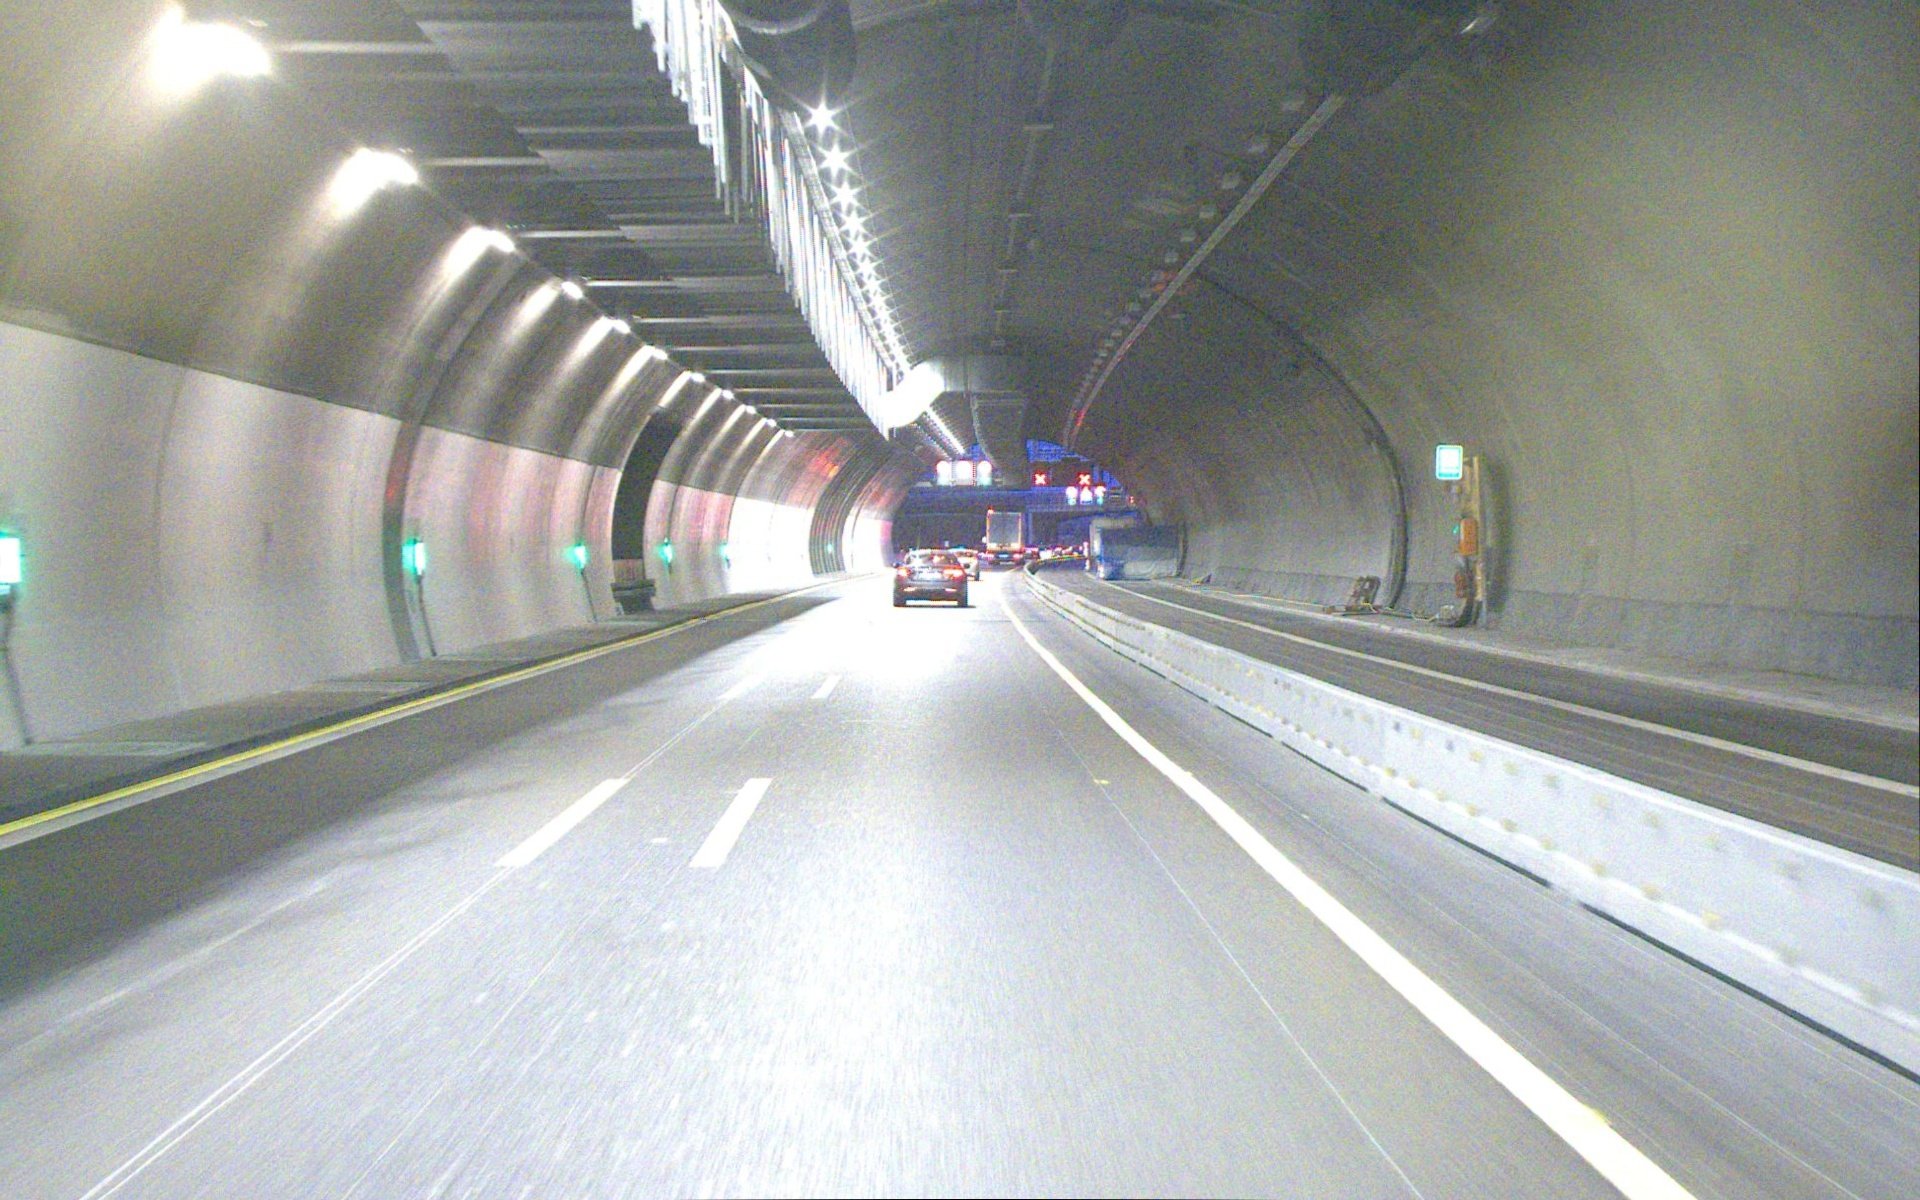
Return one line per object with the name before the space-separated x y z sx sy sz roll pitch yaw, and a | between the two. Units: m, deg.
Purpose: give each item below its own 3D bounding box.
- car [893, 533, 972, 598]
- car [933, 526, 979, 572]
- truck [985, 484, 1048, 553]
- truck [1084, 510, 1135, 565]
car | -0.721 -0.876 87.259 1.887 1.601 4.000 1 1 -2
car | -0.191 -2.302 153.988 1.993 2.007 4.000 0 1 -1
truck | 4.234 -6.040 257.271 4.546 4.970 9.599 1 1 1
truck | 9.050 -3.784 208.894 2.892 3.261 8.401 1 1 1
